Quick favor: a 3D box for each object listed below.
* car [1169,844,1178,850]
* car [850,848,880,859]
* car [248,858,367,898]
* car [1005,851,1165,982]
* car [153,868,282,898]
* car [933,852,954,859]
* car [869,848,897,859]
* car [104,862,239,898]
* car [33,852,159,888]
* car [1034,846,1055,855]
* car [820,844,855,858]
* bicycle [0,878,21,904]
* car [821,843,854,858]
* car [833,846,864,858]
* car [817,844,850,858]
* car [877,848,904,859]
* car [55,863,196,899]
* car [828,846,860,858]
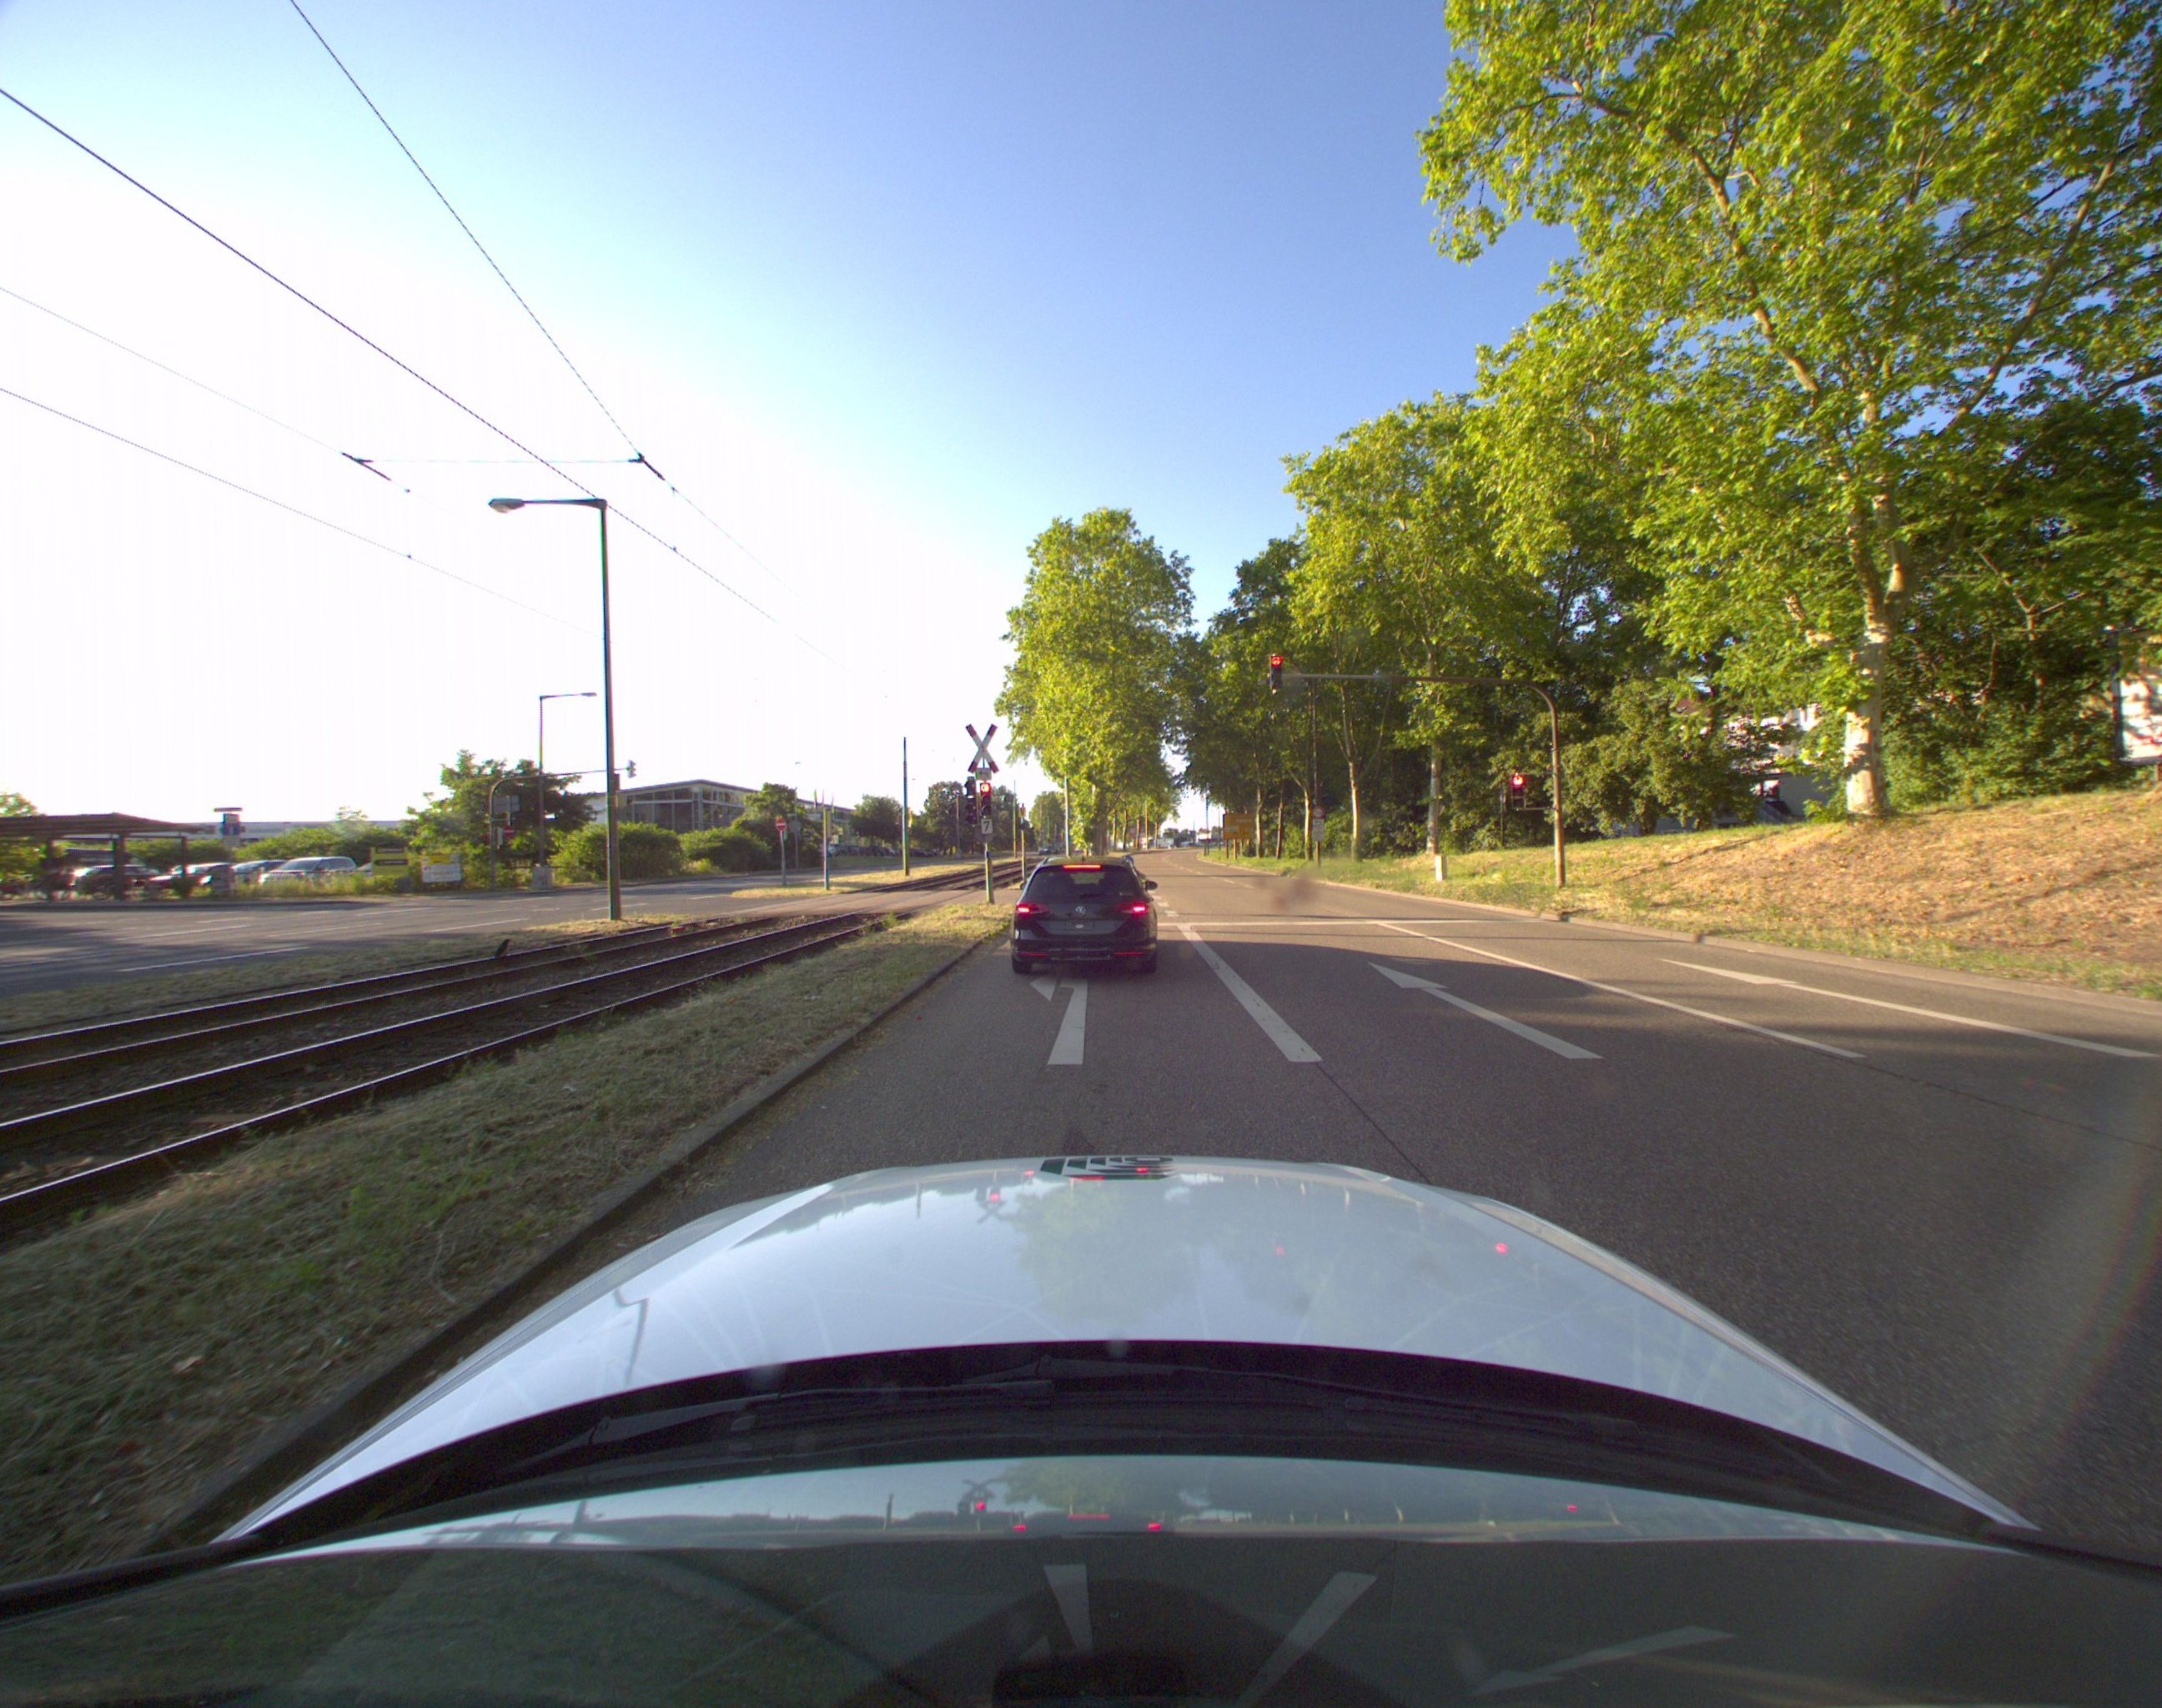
[{"bbox_3d":[26.018,-1.927,229.789,1.858,1.481,4.086,-1,0,-4],"label":"car"},{"bbox_3d":[-31.697,-0.138,119.650,3.983,1.556,1.739,-1,0,-7],"label":"car"},{"bbox_3d":[-38.521,1.141,40.732,1.855,1.821,4.174,0,1,2],"label":"car"},{"bbox_3d":[0.085,0.702,10.972,1.788,1.464,3.584,0,0,1],"label":"car"},{"bbox_3d":[-42.467,1.389,40.198,1.855,1.266,4.174,0,1,2],"label":"car"},{"bbox_3d":[-29.248,0.278,173.267,3.977,1.556,1.742,-1,0,-3],"label":"car"},{"bbox_3d":[-30.892,-0.109,127.085,3.978,1.621,1.742,-1,0,-3],"label":"car"},{"bbox_3d":[-44.706,1.231,40.193,1.855,1.583,4.174,0,1,2],"label":"car"},{"bbox_3d":[-60.452,0.941,50.151,1.855,2.014,4.773,0,1,2],"label":"car"},{"bbox_3d":[-5.867,-0.565,132.123,1.846,1.481,4.193,0,1,20],"label":"car"},{"bbox_3d":[-29.451,-0.355,98.458,3.999,1.704,1.732,-1,0,-19],"label":"car"},{"bbox_3d":[-46.603,1.599,34.456,0.778,1.105,2.029,0,-1,2],"label":"bicycle"},{"bbox_3d":[-30.808,-0.396,103.076,3.999,1.816,1.732,-1,0,-19],"label":"car"},{"bbox_3d":[-31.595,-0.220,110.545,3.999,1.556,1.732,-1,0,-19],"label":"car"},{"bbox_3d":[-31.856,-0.403,104.853,3.999,1.816,1.732,-1,0,-19],"label":"car"},{"bbox_3d":[-30.414,-0.083,130.289,3.978,1.621,1.742,-1,0,-3],"label":"car"},{"bbox_3d":[-47.157,1.282,40.337,1.971,1.583,4.174,0,1,2],"label":"car"},{"bbox_3d":[-31.371,-0.249,107.755,3.999,1.556,1.732,-1,0,-19],"label":"car"}]
